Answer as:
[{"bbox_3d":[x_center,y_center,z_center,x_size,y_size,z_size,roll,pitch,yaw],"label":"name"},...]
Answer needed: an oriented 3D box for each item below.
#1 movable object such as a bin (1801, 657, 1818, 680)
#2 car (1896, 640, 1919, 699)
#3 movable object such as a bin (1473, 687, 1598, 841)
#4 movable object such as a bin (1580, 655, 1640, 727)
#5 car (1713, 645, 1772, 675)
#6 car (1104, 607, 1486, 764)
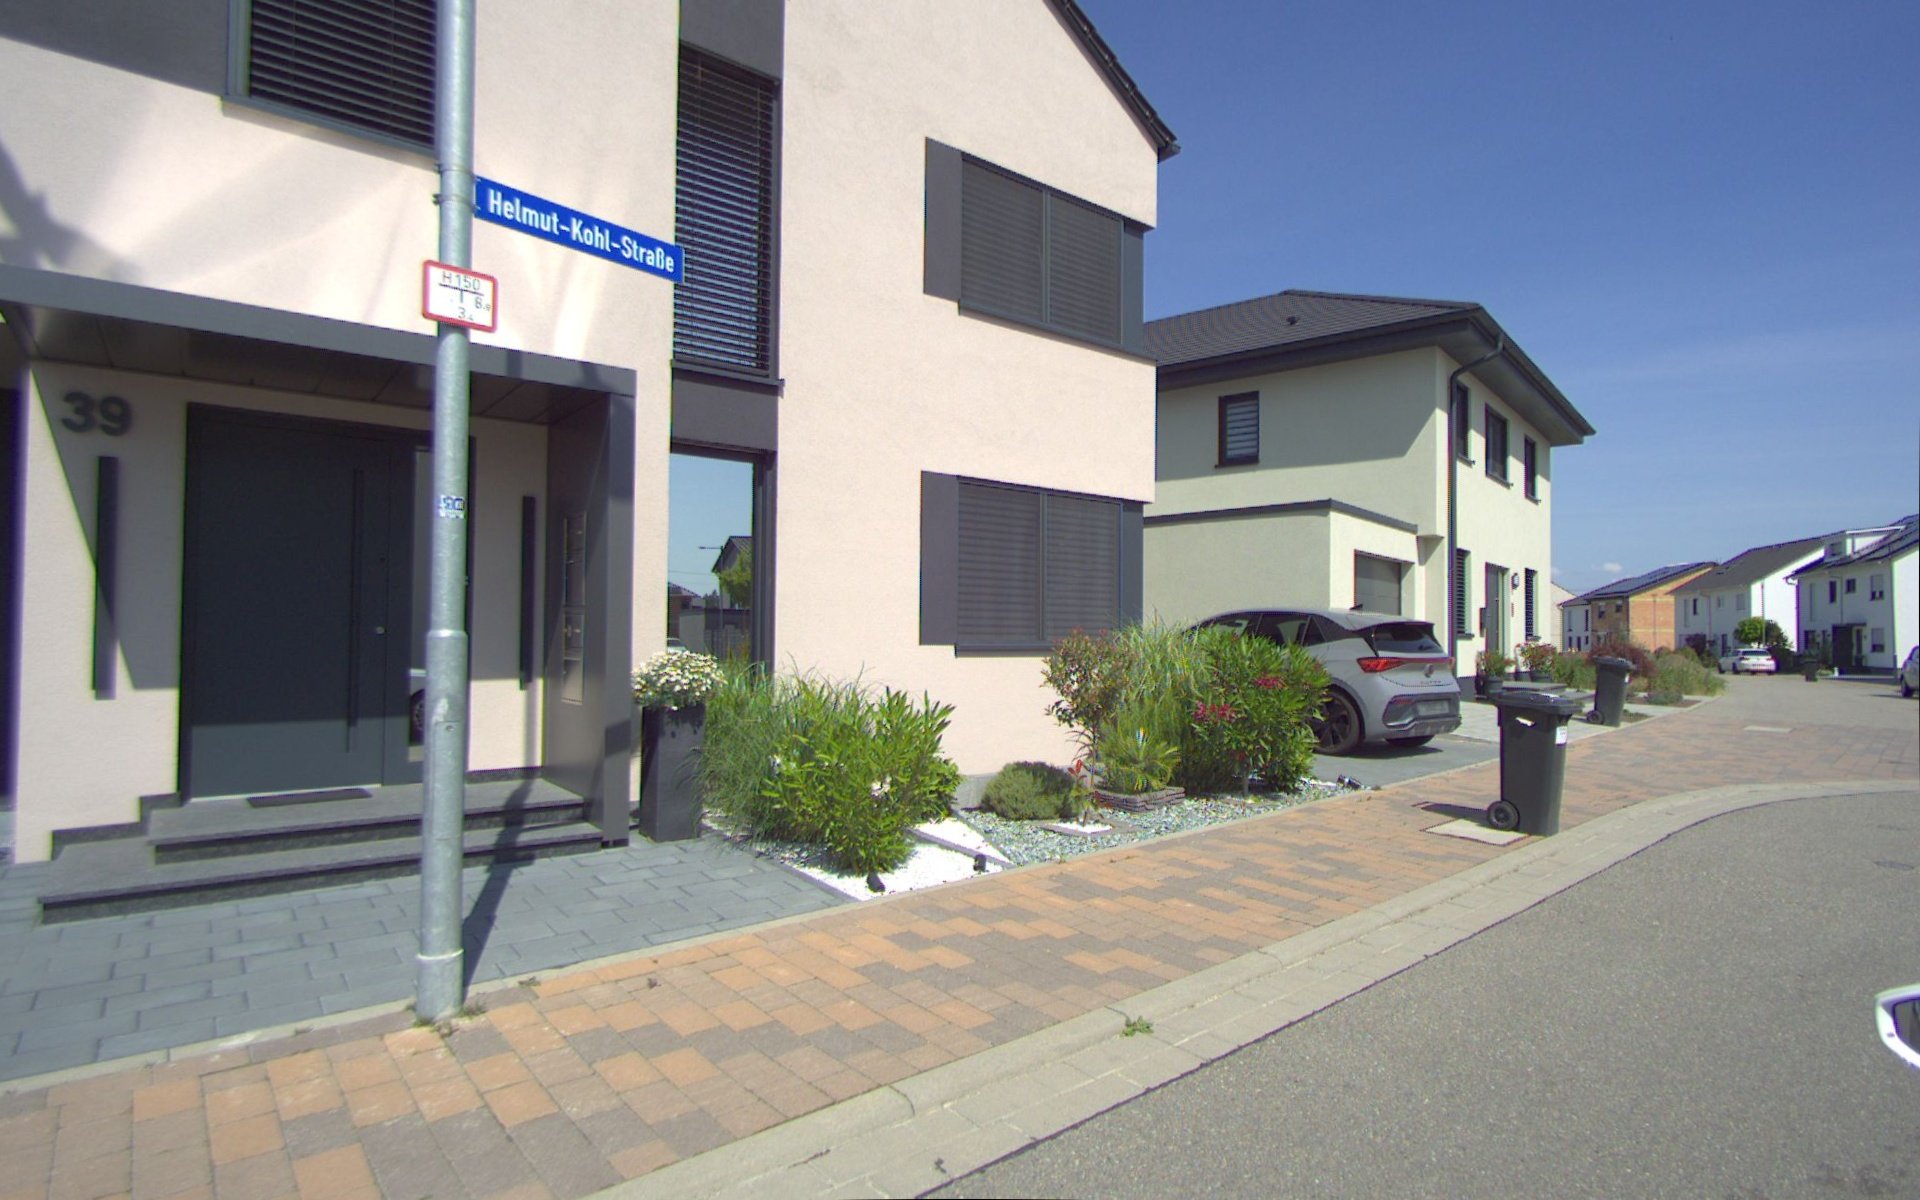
[{"bbox_3d":[36.752,2.973,43.461,0.549,0.961,0.246,-1,-2,35],"label":"movable object such as a bin"},{"bbox_3d":[25.988,1.815,26.445,1.657,1.483,3.928,-2,-3,39],"label":"car"},{"bbox_3d":[3.944,1.099,6.893,0.519,0.948,0.532,2,0,-28],"label":"movable object such as a bin"},{"bbox_3d":[9.135,1.263,14.126,0.608,0.939,0.421,3,0,43],"label":"movable object such as a bin"},{"bbox_3d":[43.973,3.348,56.531,1.752,1.617,3.997,-1,-3,25],"label":"car"},{"bbox_3d":[3.711,0.861,11.711,1.738,1.506,3.958,2,-2,-37],"label":"car"}]
